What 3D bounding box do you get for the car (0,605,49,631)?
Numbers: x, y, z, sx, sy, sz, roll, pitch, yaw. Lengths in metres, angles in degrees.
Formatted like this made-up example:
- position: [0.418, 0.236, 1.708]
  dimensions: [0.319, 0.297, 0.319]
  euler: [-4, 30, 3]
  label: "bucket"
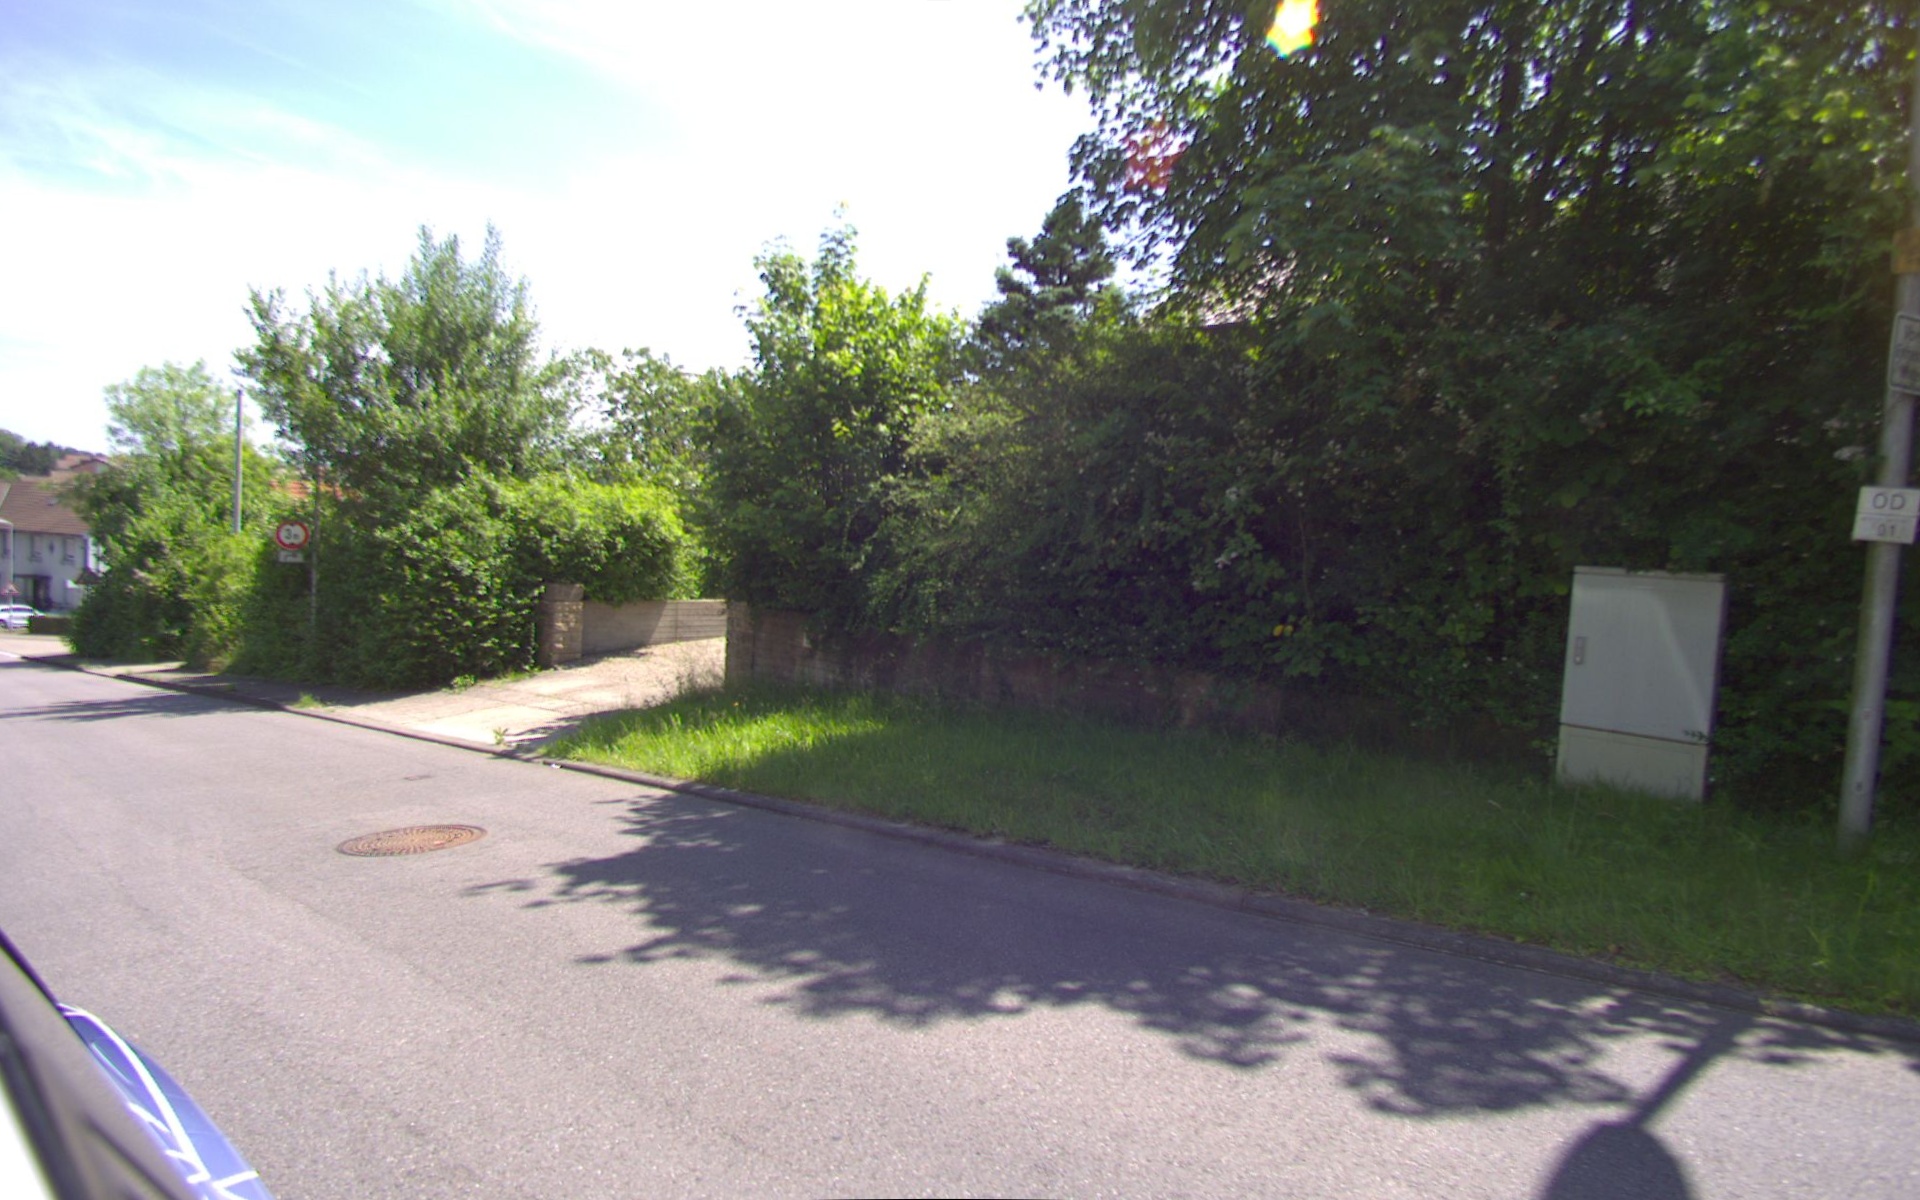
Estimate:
- position: [-58.263, 1.132, 61.845]
  dimensions: [1.510, 1.395, 3.547]
  euler: [1, 5, 30]
  label: "car"
